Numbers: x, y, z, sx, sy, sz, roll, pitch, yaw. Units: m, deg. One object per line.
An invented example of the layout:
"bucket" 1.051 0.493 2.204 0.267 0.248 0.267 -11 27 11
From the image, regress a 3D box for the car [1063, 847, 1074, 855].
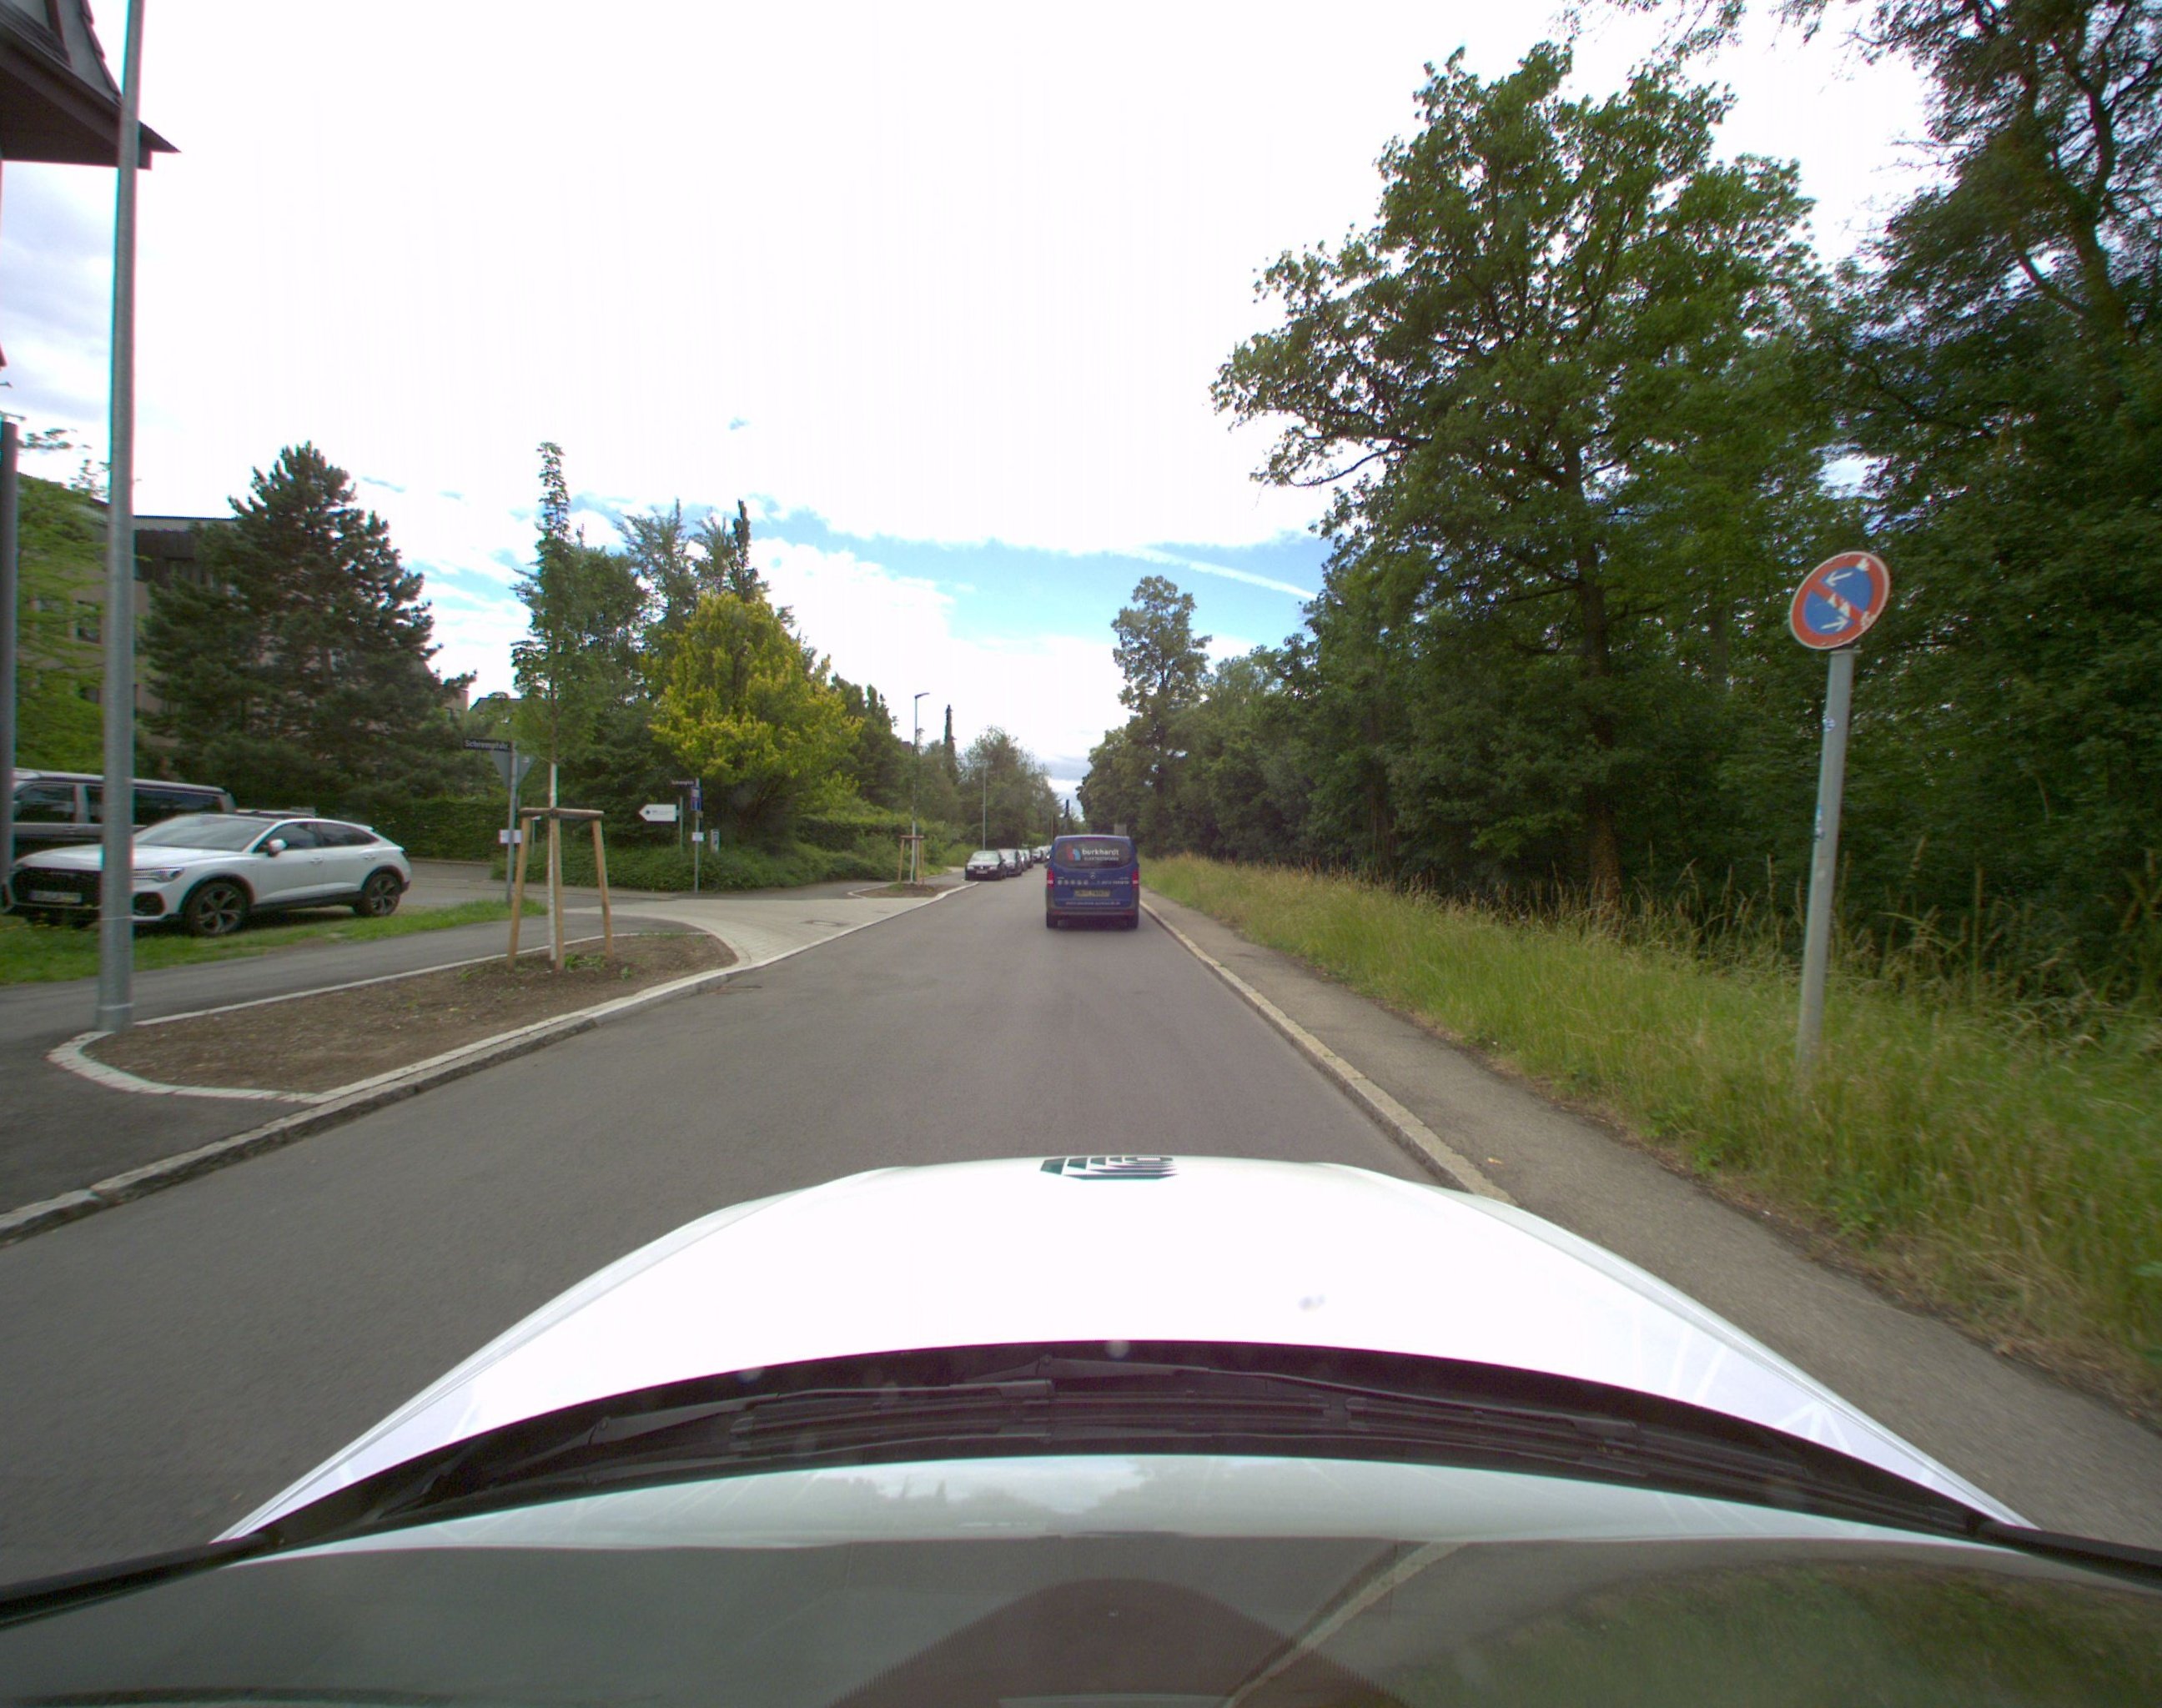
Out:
"car" -2.648 -0.699 172.372 1.828 1.631 4.304 3 0 3

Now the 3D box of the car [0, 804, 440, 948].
"car" -11.832 0.268 11.611 1.902 1.533 4.589 4 -1 -5

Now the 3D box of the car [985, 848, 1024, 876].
"car" -4.205 0.417 45.397 1.700 1.482 4.496 0 0 1

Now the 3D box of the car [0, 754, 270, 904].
"car" -15.813 -0.384 12.559 1.902 2.051 4.756 4 -1 -5

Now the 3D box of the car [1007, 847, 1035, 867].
"car" -4.521 0.213 61.996 1.773 1.432 5.103 2 0 -1

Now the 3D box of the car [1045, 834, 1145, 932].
"car" 0.207 0.514 17.535 1.884 1.844 3.997 1 1 -2

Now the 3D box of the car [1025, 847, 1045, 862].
"car" -4.633 0.078 82.212 1.617 1.450 3.971 1 0 2

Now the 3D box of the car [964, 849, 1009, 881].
"car" -4.606 0.489 40.422 1.677 1.482 4.692 0 0 0

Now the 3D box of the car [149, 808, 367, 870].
"car" -23.771 -0.477 23.813 1.989 1.532 4.410 3 2 -3

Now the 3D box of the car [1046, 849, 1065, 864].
"car" -2.515 0.233 81.813 1.775 1.426 4.487 2 0 -1

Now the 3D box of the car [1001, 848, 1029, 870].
"car" -4.460 0.312 55.508 1.619 1.432 4.349 0 0 -1
